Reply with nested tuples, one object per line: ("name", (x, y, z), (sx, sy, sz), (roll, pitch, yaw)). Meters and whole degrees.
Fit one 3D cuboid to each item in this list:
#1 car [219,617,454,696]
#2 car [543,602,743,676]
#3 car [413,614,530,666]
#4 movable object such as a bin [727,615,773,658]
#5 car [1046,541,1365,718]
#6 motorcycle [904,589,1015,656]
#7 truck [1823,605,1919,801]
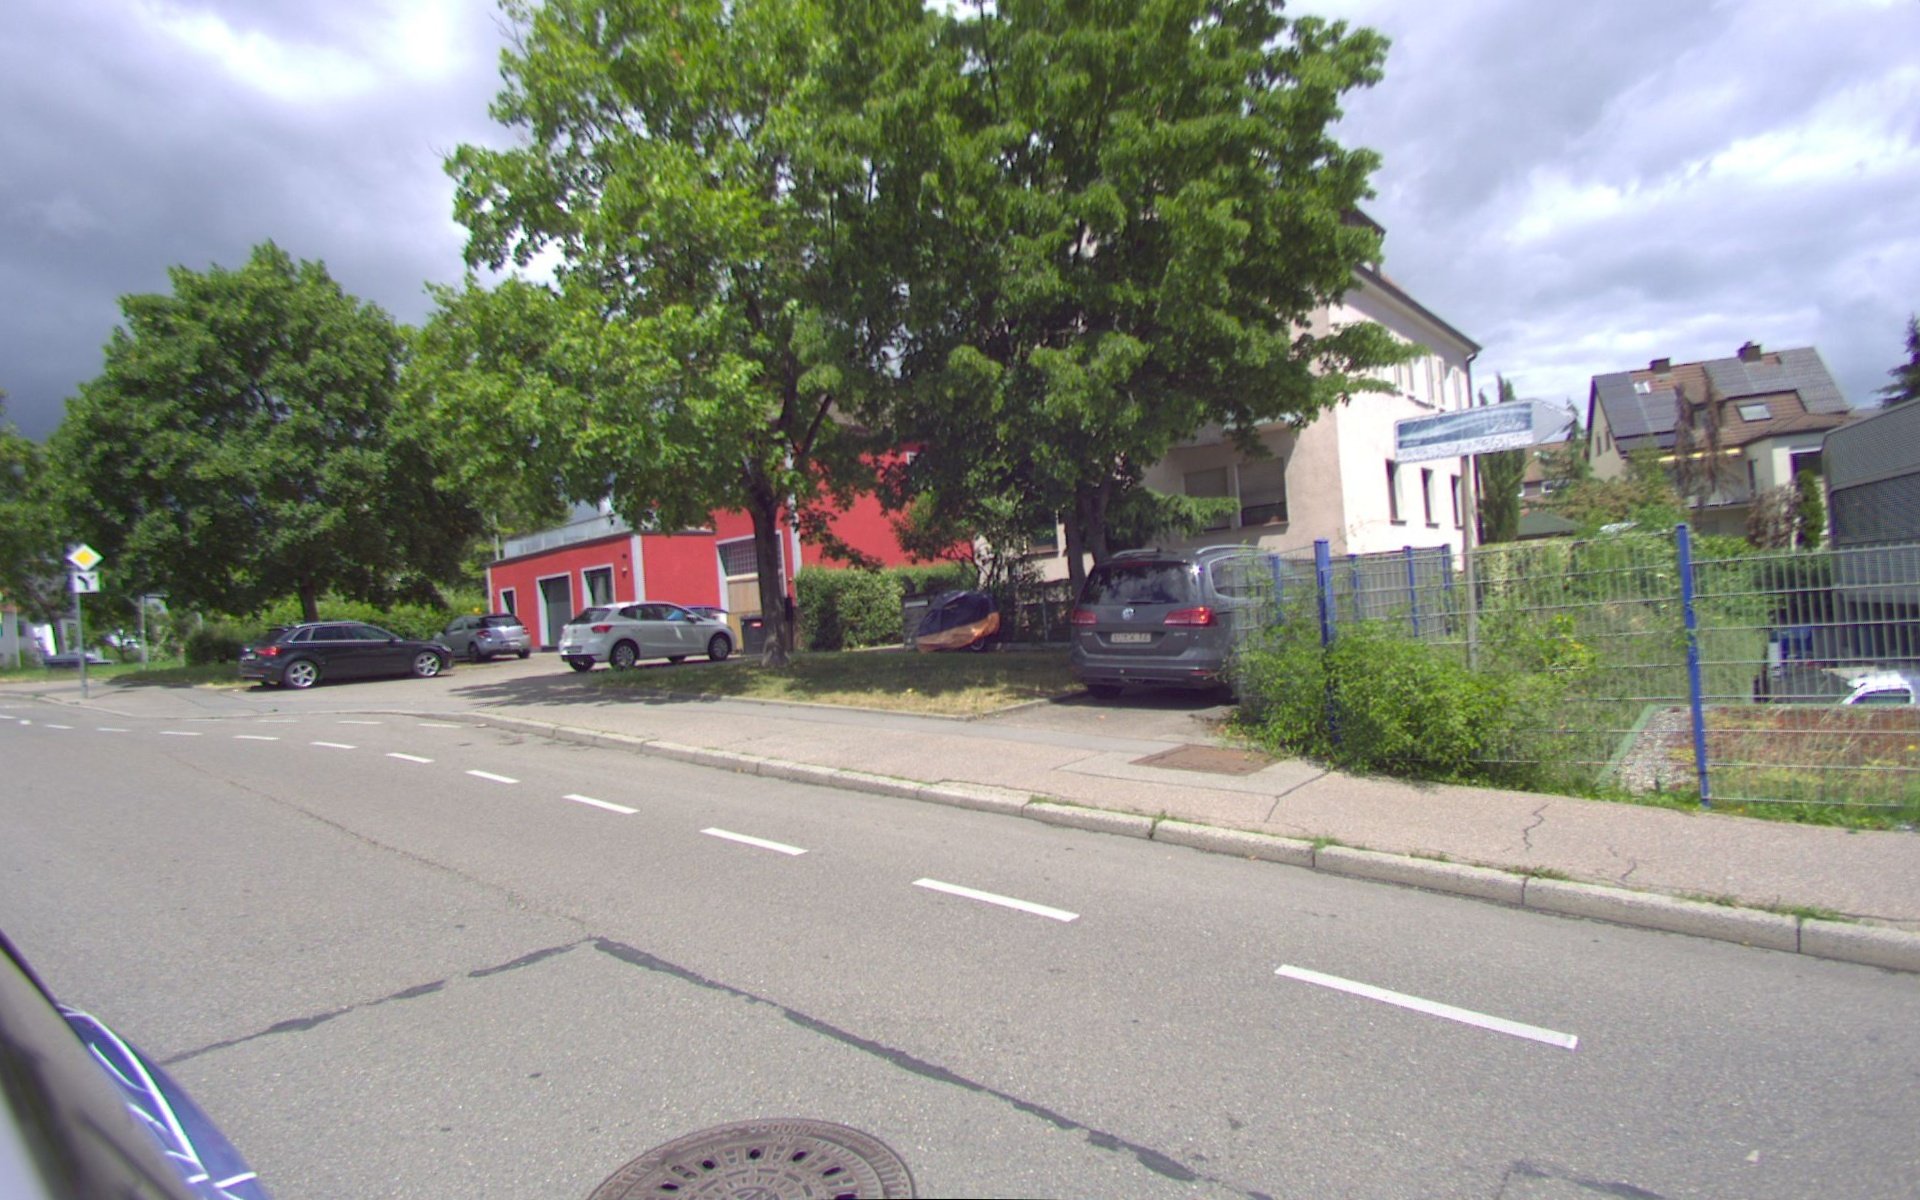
("car", (-14.070, 1.226, 23.013), (1.998, 1.404, 4.090), (-3, 1, 39))
("car", (-6.949, 0.828, 22.499), (1.872, 1.414, 3.885), (-3, -1, 36))
("car", (-15.117, 1.250, 31.265), (4.073, 1.436, 1.624), (-3, 1, 39))
("movable object such as a bin", (-5.469, 0.953, 26.359), (0.880, 1.069, 0.747), (-3, 1, 43))
("car", (3.191, 0.193, 12.364), (1.998, 1.729, 4.654), (0, 2, 39))
("motorcycle", (-0.032, 0.489, 21.631), (2.233, 1.325, 0.909), (-2, 1, 38))
("truck", (16.692, 1.519, 14.993), (5.880, 2.895, 2.432), (-2, 0, 41))
